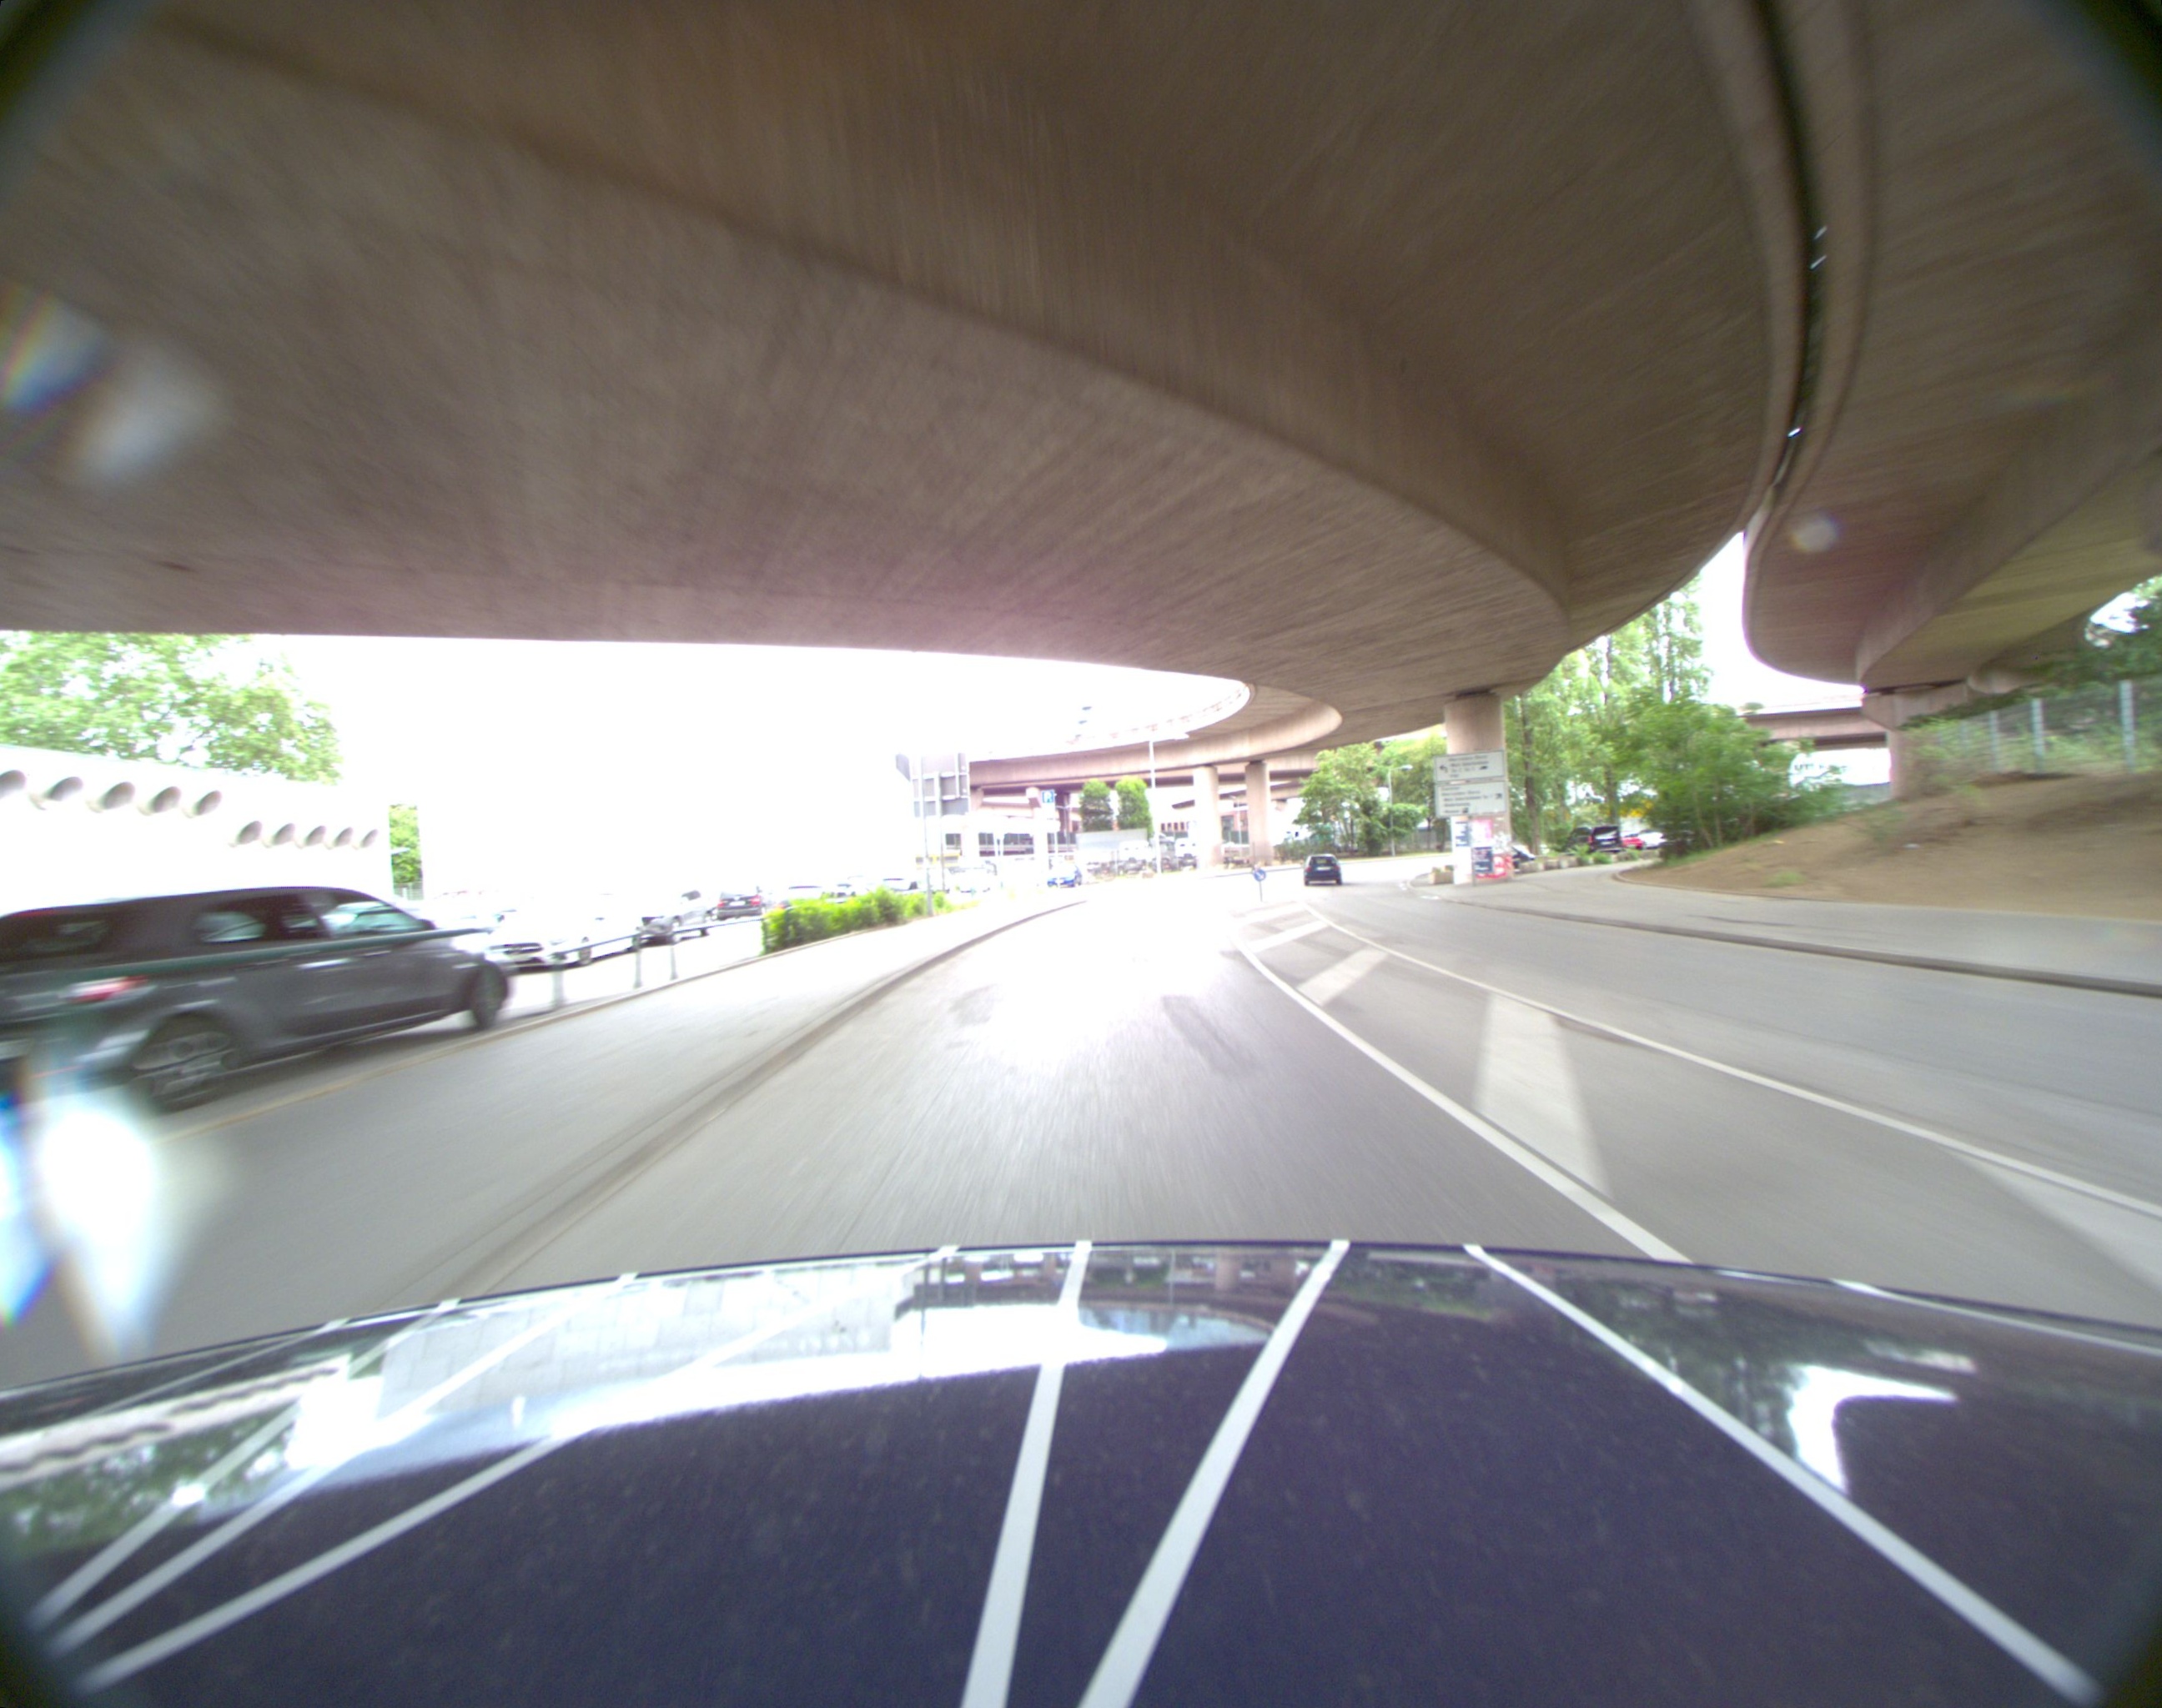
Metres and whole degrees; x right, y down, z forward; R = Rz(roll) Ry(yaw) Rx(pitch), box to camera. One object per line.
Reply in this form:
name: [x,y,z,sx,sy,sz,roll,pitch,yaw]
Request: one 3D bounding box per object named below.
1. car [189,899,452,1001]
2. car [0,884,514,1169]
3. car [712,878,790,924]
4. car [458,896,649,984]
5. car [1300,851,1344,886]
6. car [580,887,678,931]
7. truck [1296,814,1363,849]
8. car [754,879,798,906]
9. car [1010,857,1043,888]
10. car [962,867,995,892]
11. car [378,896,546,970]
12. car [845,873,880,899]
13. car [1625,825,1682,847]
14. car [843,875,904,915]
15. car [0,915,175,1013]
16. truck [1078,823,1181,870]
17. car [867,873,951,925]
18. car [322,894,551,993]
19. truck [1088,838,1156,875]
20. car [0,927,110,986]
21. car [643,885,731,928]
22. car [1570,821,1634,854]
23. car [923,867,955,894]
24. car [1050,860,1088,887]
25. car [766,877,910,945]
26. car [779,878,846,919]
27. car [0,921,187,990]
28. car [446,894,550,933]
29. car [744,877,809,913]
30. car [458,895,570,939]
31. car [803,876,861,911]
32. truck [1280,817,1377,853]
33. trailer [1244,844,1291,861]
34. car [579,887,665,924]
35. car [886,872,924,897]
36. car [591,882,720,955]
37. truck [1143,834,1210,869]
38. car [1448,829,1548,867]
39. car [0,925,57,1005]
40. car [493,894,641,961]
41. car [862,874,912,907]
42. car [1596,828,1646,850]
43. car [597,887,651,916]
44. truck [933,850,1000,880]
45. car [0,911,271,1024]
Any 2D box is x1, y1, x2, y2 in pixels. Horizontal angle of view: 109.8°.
car: [-15.993,1.918,16.369,1.838,1.583,4.188,-3,0,-10]
car: [-6.806,1.143,6.219,1.610,1.524,3.410,-5,0,1]
car: [-14.009,1.925,32.516,1.858,1.618,4.617,-3,0,-9]
car: [-11.567,1.807,17.064,1.838,1.413,4.188,-3,0,-10]
car: [11.182,0.637,35.445,1.679,1.422,4.004,-3,0,14]
car: [-18.646,2.229,31.595,1.858,1.435,4.617,-3,0,-9]
truck: [26.785,-2.455,82.054,6.409,3.389,2.269,-3,2,-4]
car: [-18.996,2.370,47.494,1.776,1.448,4.356,-3,0,-12]
car: [-3.735,1.208,52.490,1.893,1.945,4.680,-3,0,-1]
car: [-6.795,1.642,50.680,1.775,1.448,4.553,-3,0,-4]
car: [-17.014,2.099,21.176,1.757,1.547,4.084,-3,0,-10]
car: [-14.110,2.048,49.196,1.623,1.535,3.096,-3,0,-6]
car: [39.526,-1.254,52.586,1.693,1.356,4.521,-3,1,18]
car: [-9.108,1.741,33.657,1.858,1.466,4.684,-3,0,-7]
car: [-21.051,2.205,14.917,1.838,1.583,4.188,-3,0,-10]
truck: [5.087,-0.777,80.452,10.134,4.340,3.912,-3,0,-7]
car: [-5.638,1.449,25.137,1.542,1.470,2.763,-3,0,14]
car: [-13.657,1.797,16.501,1.838,1.583,4.188,-3,0,-10]
truck: [3.584,0.217,65.721,2.452,2.869,6.130,-3,0,41]
car: [-28.715,2.794,19.817,1.709,1.298,4.257,-3,0,-10]
car: [-16.396,2.133,31.891,1.858,1.435,4.617,-3,0,-9]
car: [33.361,-1.102,48.835,1.853,1.906,4.978,-3,1,16]
car: [-9.358,1.719,50.222,1.775,1.578,4.358,-3,0,-8]
car: [-0.779,1.313,52.298,1.773,1.625,4.688,-3,0,9]
car: [-6.592,1.510,21.156,1.732,1.470,4.253,-3,0,14]
car: [-11.603,1.870,33.129,1.858,1.466,4.683,-3,0,-9]
car: [-26.537,2.618,19.845,1.709,1.298,4.257,-3,0,-10]
car: [-27.422,2.773,35.938,1.839,1.417,4.439,-3,0,-7]
car: [-15.175,2.022,38.156,1.839,1.504,4.498,-3,0,-7]
car: [-23.369,2.554,31.556,1.785,1.384,4.433,-3,0,-9]
car: [-12.490,1.933,38.354,1.839,1.504,4.498,-3,0,-7]
truck: [27.773,-2.168,85.343,10.213,3.478,2.269,-3,2,-6]
trailer: [17.065,-0.173,69.522,4.389,1.324,1.602,-4,2,-33]
car: [-22.100,2.443,36.784,1.839,1.417,4.439,-3,0,-7]
car: [-11.273,1.909,48.879,1.775,1.375,4.358,-3,0,-6]
car: [-12.094,1.744,21.948,1.746,1.665,4.466,-3,0,-10]
truck: [8.350,-0.244,65.671,2.418,2.728,7.249,-3,0,36]
car: [19.141,-0.294,34.797,4.781,1.422,1.825,-3,-2,-32]
car: [-23.235,2.383,14.566,1.838,1.583,4.188,-3,0,-10]
car: [-14.597,2.025,21.914,1.757,1.440,4.455,-3,0,-10]
car: [-9.854,1.801,38.972,1.839,1.417,4.439,-3,0,-7]
car: [36.300,-1.021,51.193,1.562,1.372,3.708,-3,1,16]
car: [-28.031,2.884,46.734,1.498,1.451,4.061,-3,0,-12]
truck: [-12.387,1.205,82.739,6.927,2.915,3.050,-3,0,-4]
car: [-18.749,2.091,14.792,1.838,1.583,4.188,-3,0,-10]
